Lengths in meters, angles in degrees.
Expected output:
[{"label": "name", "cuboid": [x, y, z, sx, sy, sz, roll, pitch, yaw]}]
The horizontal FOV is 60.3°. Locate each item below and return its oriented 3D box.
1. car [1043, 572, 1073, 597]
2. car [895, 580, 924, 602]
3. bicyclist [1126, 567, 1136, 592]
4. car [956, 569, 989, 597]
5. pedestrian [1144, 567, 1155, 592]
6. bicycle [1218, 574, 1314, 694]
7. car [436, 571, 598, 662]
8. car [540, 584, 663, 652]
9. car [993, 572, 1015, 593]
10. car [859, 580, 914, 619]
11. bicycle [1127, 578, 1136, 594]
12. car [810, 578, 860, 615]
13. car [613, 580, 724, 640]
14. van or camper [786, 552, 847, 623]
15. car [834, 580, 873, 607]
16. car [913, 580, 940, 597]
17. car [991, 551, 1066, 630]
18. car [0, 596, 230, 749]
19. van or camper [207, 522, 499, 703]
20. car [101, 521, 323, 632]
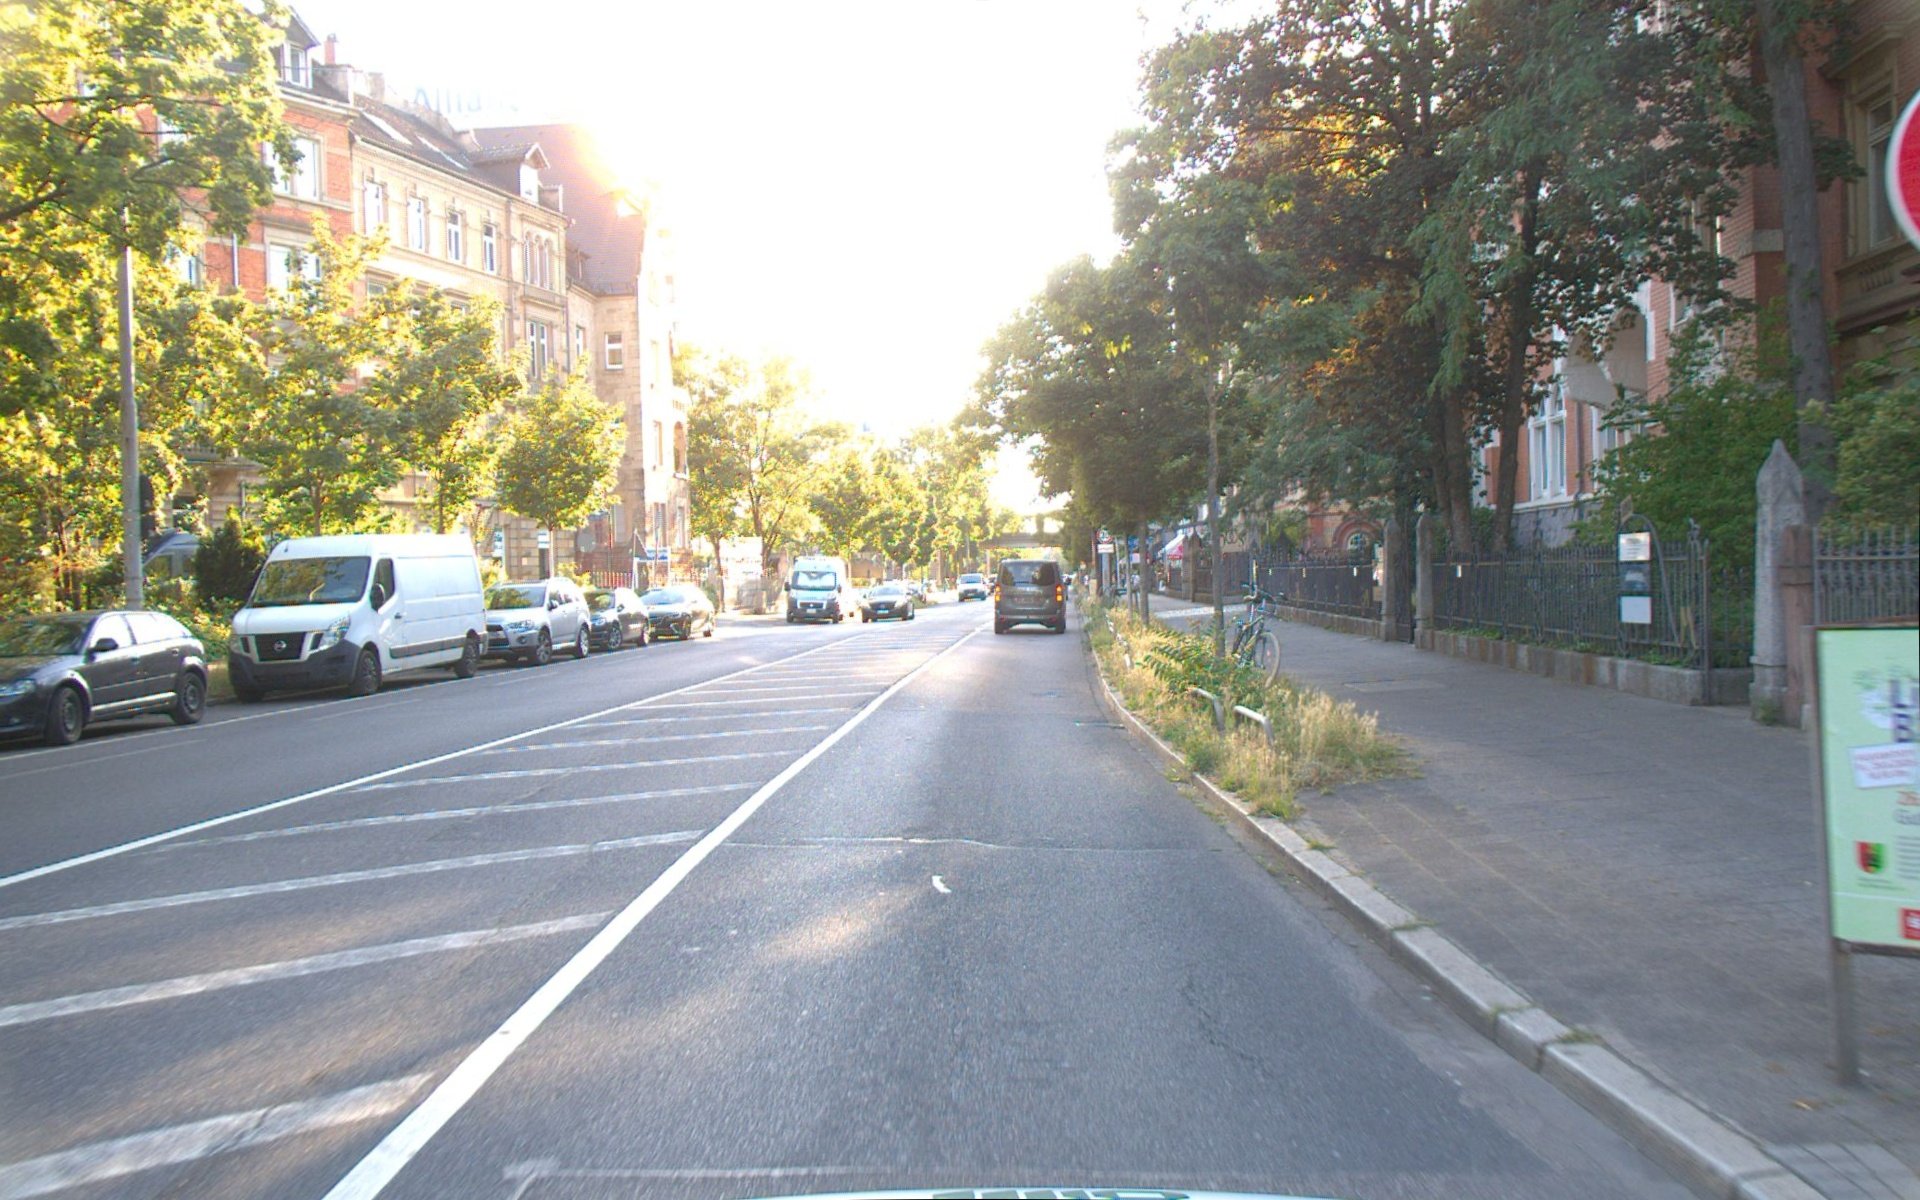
[{"label": "car", "cuboid": [6.673, -1.062, 112.637, 1.952, 1.662, 4.002, -1, 1, 2]}, {"label": "car", "cuboid": [-3.309, -0.593, 108.421, 1.604, 1.410, 4.002, 0, 1, 3]}, {"label": "bicyclist", "cuboid": [10.929, -1.325, 105.449, 0.583, 1.559, 0.894, 0, 1, 3]}, {"label": "car", "cuboid": [0.910, -1.214, 119.067, 1.951, 1.863, 5.173, -2, 1, 4]}, {"label": "pedestrian", "cuboid": [12.450, -1.351, 108.678, 0.631, 1.661, 0.656, 0, 1, 4]}, {"label": "bicycle", "cuboid": [3.188, 0.321, 17.358, 0.633, 1.187, 1.931, 0, 1, 0]}, {"label": "car", "cuboid": [-9.004, 0.276, 34.032, 1.827, 1.673, 4.573, -2, 1, 3]}, {"label": "car", "cuboid": [-8.582, 0.384, 39.990, 1.699, 1.470, 4.627, -1, 1, 3]}, {"label": "car", "cuboid": [4.107, -1.661, 153.684, 1.795, 1.885, 4.476, -2, 1, 3]}, {"label": "car", "cuboid": [-2.873, -0.029, 65.537, 1.729, 1.426, 4.547, -2, 1, 3]}, {"label": "bicycle", "cuboid": [10.918, -0.898, 105.395, 0.506, 1.058, 2.090, 0, 1, 4]}, {"label": "car", "cuboid": [-5.581, -0.182, 74.378, 1.709, 1.561, 4.304, 0, 1, 3]}, {"label": "car", "cuboid": [-8.027, 0.241, 46.041, 1.952, 1.509, 4.831, -1, 1, 3]}, {"label": "van or camper", "cuboid": [-5.705, -0.523, 66.506, 1.953, 2.715, 6.038, 0, 1, 0]}, {"label": "car", "cuboid": [-5.209, -0.338, 80.946, 1.504, 1.270, 3.615, 0, 1, 3]}, {"label": "car", "cuboid": [-2.969, -1.046, 147.486, 1.952, 1.439, 4.239, 1, 1, 4]}, {"label": "car", "cuboid": [1.855, -0.286, 44.134, 1.848, 1.958, 3.841, -2, 1, 3]}, {"label": "car", "cuboid": [-10.129, 0.754, 18.758, 1.594, 1.454, 4.244, -2, 1, 3]}, {"label": "van or camper", "cuboid": [-9.569, 0.131, 26.840, 2.047, 2.511, 6.308, -2, 1, 3]}, {"label": "car", "cuboid": [-20.425, -0.685, 45.415, 2.079, 2.786, 5.303, -2, 1, 28]}]
